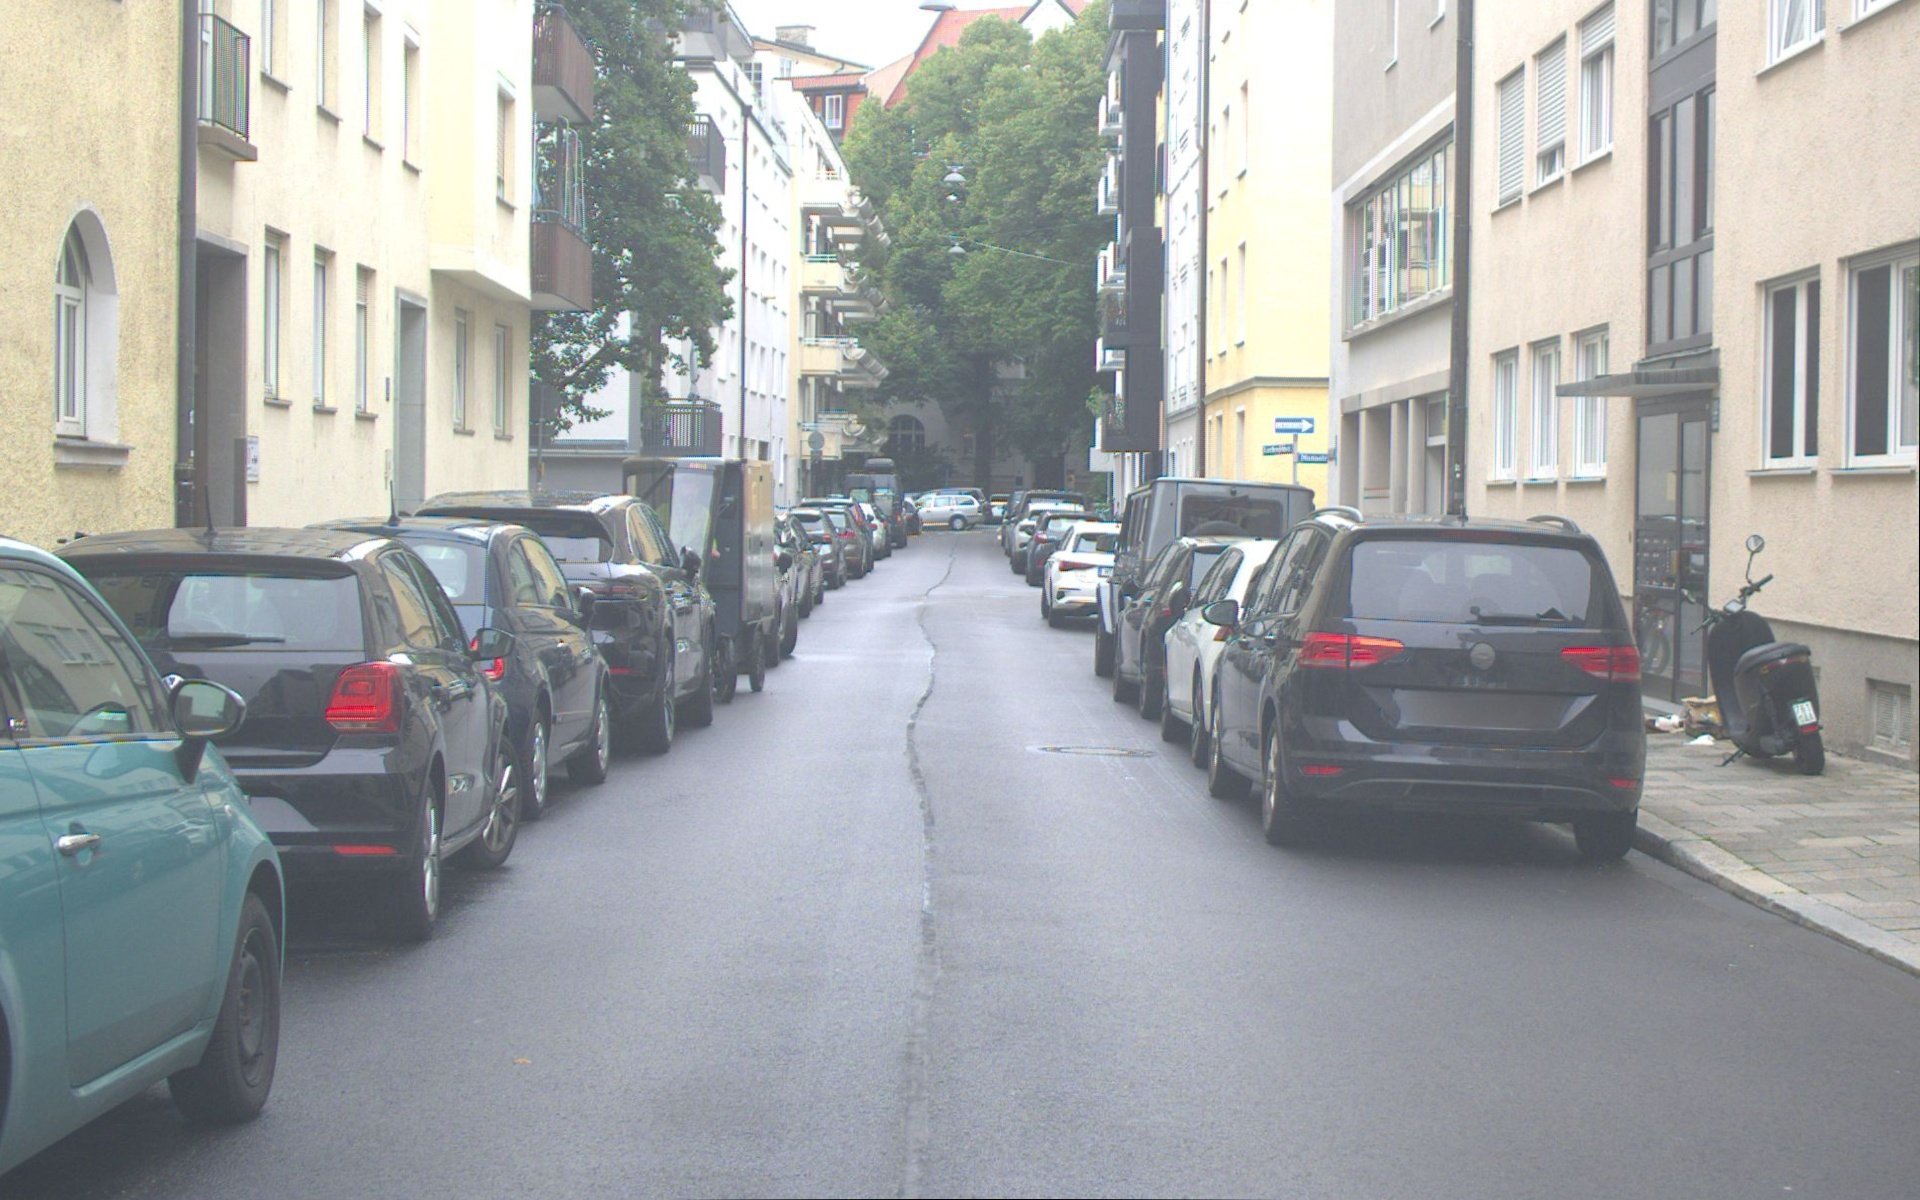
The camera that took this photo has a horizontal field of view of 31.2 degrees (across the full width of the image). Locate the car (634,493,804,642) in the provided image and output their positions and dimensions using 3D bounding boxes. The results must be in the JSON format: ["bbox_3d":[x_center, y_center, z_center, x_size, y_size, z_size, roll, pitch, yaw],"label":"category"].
[{"bbox_3d":[-2.793,-0.419,40.619,1.766,1.669,4.368,0,1,-1],"label":"car"}]

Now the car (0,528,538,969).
[{"bbox_3d":[-2.602,0.455,13.322,1.563,1.455,3.764,0,1,-1],"label":"car"}]

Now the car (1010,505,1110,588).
[{"bbox_3d":[1.949,-1.082,68.002,1.751,1.464,4.343,3,2,0],"label":"car"}]

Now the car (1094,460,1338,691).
[{"bbox_3d":[2.375,-0.298,32.933,1.750,1.968,4.344,3,2,-2],"label":"car"}]

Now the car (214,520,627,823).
[{"bbox_3d":[-2.765,0.303,18.278,1.563,1.455,3.475,0,1,1],"label":"car"}]

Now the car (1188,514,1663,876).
[{"bbox_3d":[2.271,0.393,17.852,1.711,1.602,4.245,2,1,-2],"label":"car"}]

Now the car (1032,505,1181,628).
[{"bbox_3d":[2.001,-0.497,48.016,1.819,1.403,3.953,2,4,-1],"label":"car"}]

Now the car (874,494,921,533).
[{"bbox_3d":[-2.328,-3.244,128.364,1.642,1.379,3.483,-2,2,0],"label":"car"}]

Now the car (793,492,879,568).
[{"bbox_3d":[-2.743,-1.579,76.721,1.776,1.623,4.415,0,2,0],"label":"car"}]

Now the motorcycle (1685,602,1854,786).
[{"bbox_3d":[4.766,0.531,20.333,0.481,0.964,1.911,-3,2,-1],"label":"motorcycle"}]

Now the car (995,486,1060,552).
[{"bbox_3d":[2.174,-2.657,112.183,1.829,1.992,4.416,4,2,-1],"label":"car"}]

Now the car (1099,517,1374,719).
[{"bbox_3d":[2.190,0.095,28.278,1.711,1.481,4.245,2,1,-2],"label":"car"}]

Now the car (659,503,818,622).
[{"bbox_3d":[-2.926,-0.539,46.181,1.766,1.478,4.424,0,2,1],"label":"car"}]

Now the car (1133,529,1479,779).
[{"bbox_3d":[2.242,0.290,23.329,1.711,1.481,4.245,2,1,-2],"label":"car"}]

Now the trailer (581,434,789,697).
[{"bbox_3d":[-2.307,-0.317,29.416,1.355,2.108,3.318,0,1,3],"label":"trailer"}]

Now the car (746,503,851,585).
[{"bbox_3d":[-2.924,-1.047,62.899,1.693,1.437,3.942,0,2,1],"label":"car"}]

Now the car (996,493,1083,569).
[{"bbox_3d":[1.778,-1.583,77.990,1.682,1.562,4.416,3,2,-2],"label":"car"}]

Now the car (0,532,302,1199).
[{"bbox_3d":[-2.543,0.591,7.269,1.563,1.455,3.404,0,1,2],"label":"car"}]

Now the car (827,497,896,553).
[{"bbox_3d":[-2.702,-2.085,94.960,1.777,1.448,4.046,-2,2,0],"label":"car"}]

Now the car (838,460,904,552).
[{"bbox_3d":[-2.820,-3.013,109.505,1.936,2.792,4.533,-2,2,0],"label":"car"}]

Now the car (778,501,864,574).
[{"bbox_3d":[-2.838,-1.312,70.737,1.693,1.437,3.978,0,2,-1],"label":"car"}]

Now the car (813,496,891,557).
[{"bbox_3d":[-2.795,-1.951,89.856,1.777,1.482,4.519,-2,2,1],"label":"car"}]

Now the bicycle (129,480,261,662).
[{"bbox_3d":[-5.637,-0.225,25.393,0.594,1.274,1.552,3,1,-1],"label":"bicycle"}]

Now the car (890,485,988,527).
[{"bbox_3d":[-0.859,-3.781,138.045,3.885,1.579,1.648,-2,2,-1],"label":"car"}]

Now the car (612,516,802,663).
[{"bbox_3d":[-2.549,-0.151,35.349,1.652,1.431,3.803,0,1,0],"label":"car"}]

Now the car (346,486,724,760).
[{"bbox_3d":[-2.723,0.083,23.013,1.879,1.654,4.415,0,1,1],"label":"car"}]

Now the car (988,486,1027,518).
[{"bbox_3d":[2.132,-4.429,155.118,1.642,1.379,3.746,-2,2,0],"label":"car"}]
